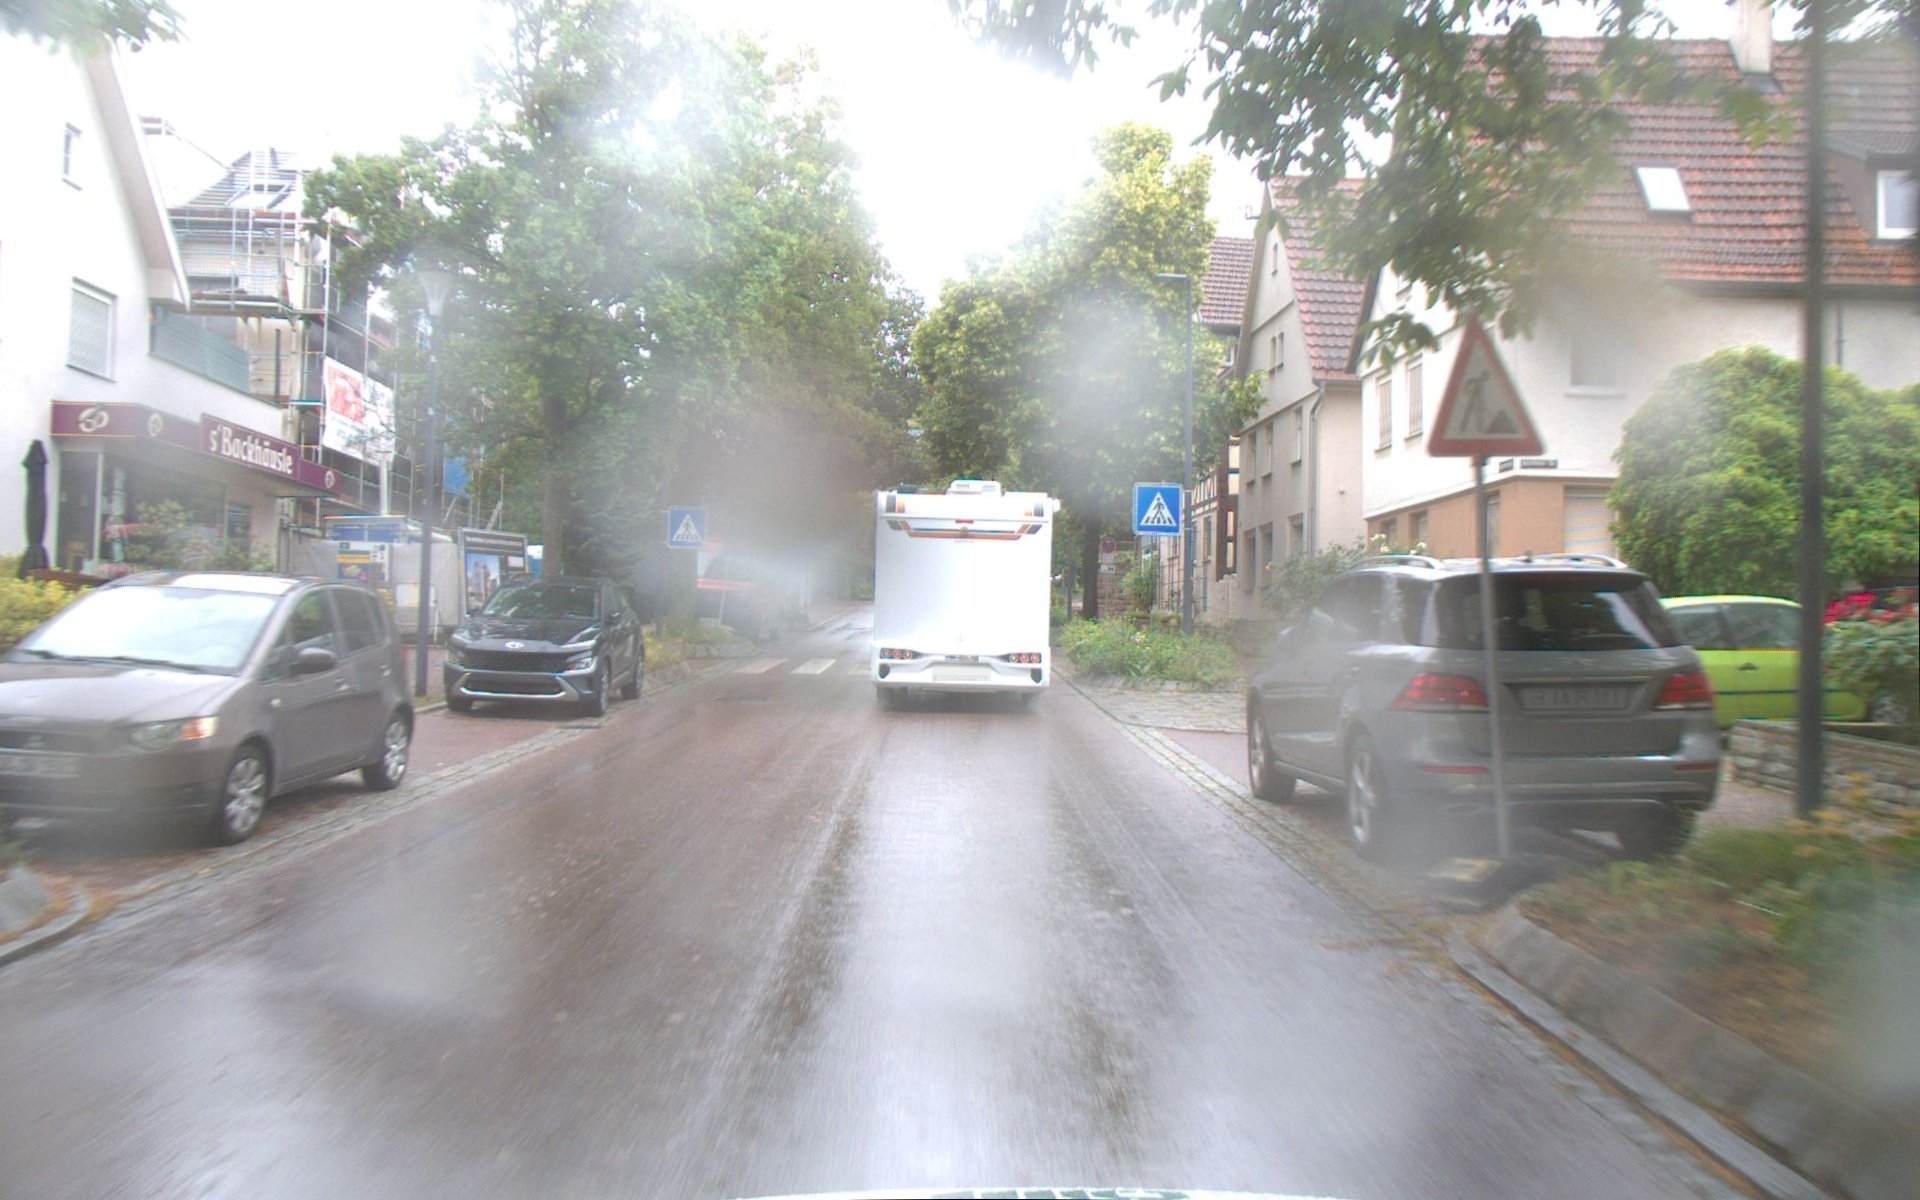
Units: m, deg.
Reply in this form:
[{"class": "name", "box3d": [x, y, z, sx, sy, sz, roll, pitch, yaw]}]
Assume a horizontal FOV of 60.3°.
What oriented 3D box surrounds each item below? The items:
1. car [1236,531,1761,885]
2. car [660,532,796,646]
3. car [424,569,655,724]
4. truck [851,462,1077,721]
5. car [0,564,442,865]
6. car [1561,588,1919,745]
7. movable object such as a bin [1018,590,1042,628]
[{"class": "car", "box3d": [3.214, 0.563, 10.949, 1.875, 1.823, 4.487, 1, 0, -2]}, {"class": "car", "box3d": [-5.506, -0.304, 40.142, 2.256, 2.526, 5.786, 1, 1, 2]}, {"class": "car", "box3d": [-4.907, 0.481, 19.874, 1.736, 1.580, 3.999, 3, 1, -1]}, {"class": "truck", "box3d": [0.014, -0.095, 22.948, 2.640, 3.038, 6.235, 1, 0, -1]}, {"class": "car", "box3d": [-4.852, 0.589, 10.782, 1.613, 1.560, 3.866, 2, 0, 1]}, {"class": "car", "box3d": [7.970, 0.624, 16.552, 3.298, 1.455, 1.629, -1, 0, -4]}, {"class": "movable object such as a bin", "box3d": [2.303, 0.295, 54.399, 0.706, 1.234, 0.727, 1, 0, 0]}]
